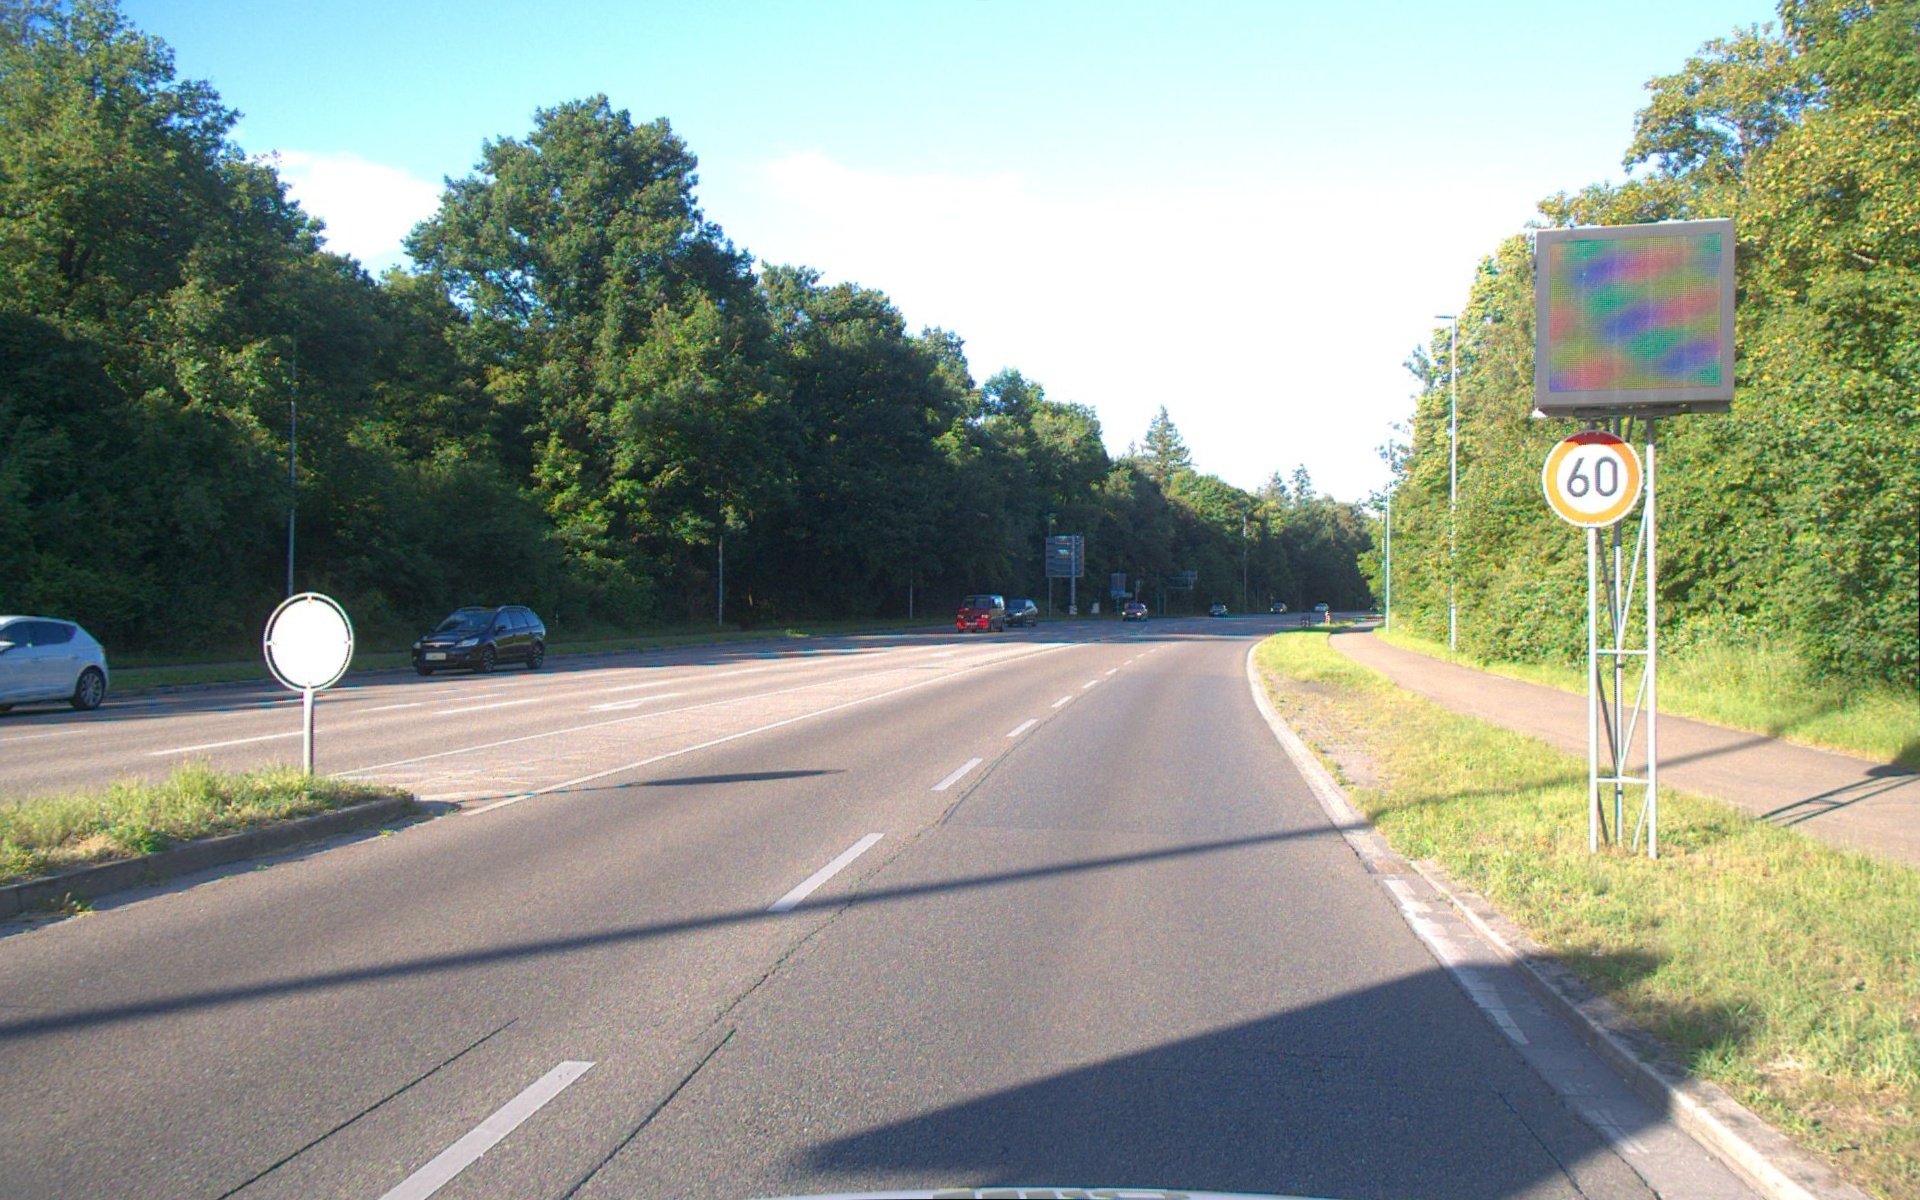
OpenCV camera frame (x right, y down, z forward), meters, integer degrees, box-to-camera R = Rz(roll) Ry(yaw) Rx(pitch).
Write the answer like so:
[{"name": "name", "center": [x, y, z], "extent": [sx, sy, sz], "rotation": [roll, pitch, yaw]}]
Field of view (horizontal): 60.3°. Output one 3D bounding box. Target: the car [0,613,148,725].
[{"name": "car", "center": [-14.437, 1.004, 24.516], "extent": [1.951, 1.591, 4.652], "rotation": [-1, -1, 10]}]

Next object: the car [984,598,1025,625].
[{"name": "car", "center": [2.854, 0.721, 105.633], "extent": [1.951, 1.665, 4.848], "rotation": [0, 0, 10]}]

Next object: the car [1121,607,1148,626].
[{"name": "car", "center": [14.873, 1.390, 140.869], "extent": [1.951, 1.591, 4.342], "rotation": [0, 0, 11]}]

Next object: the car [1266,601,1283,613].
[{"name": "car", "center": [44.888, 1.010, 236.106], "extent": [1.786, 1.572, 4.258], "rotation": [1, 0, 18]}]

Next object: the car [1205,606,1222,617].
[{"name": "car", "center": [28.624, 1.274, 186.655], "extent": [1.706, 1.256, 4.677], "rotation": [0, 0, 11]}]

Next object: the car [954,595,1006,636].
[{"name": "car", "center": [1.070, 0.801, 85.937], "extent": [1.951, 1.996, 4.652], "rotation": [-1, -1, 10]}]

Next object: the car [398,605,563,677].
[{"name": "car", "center": [-11.368, 0.940, 39.556], "extent": [1.951, 1.591, 4.652], "rotation": [-1, -1, 10]}]
